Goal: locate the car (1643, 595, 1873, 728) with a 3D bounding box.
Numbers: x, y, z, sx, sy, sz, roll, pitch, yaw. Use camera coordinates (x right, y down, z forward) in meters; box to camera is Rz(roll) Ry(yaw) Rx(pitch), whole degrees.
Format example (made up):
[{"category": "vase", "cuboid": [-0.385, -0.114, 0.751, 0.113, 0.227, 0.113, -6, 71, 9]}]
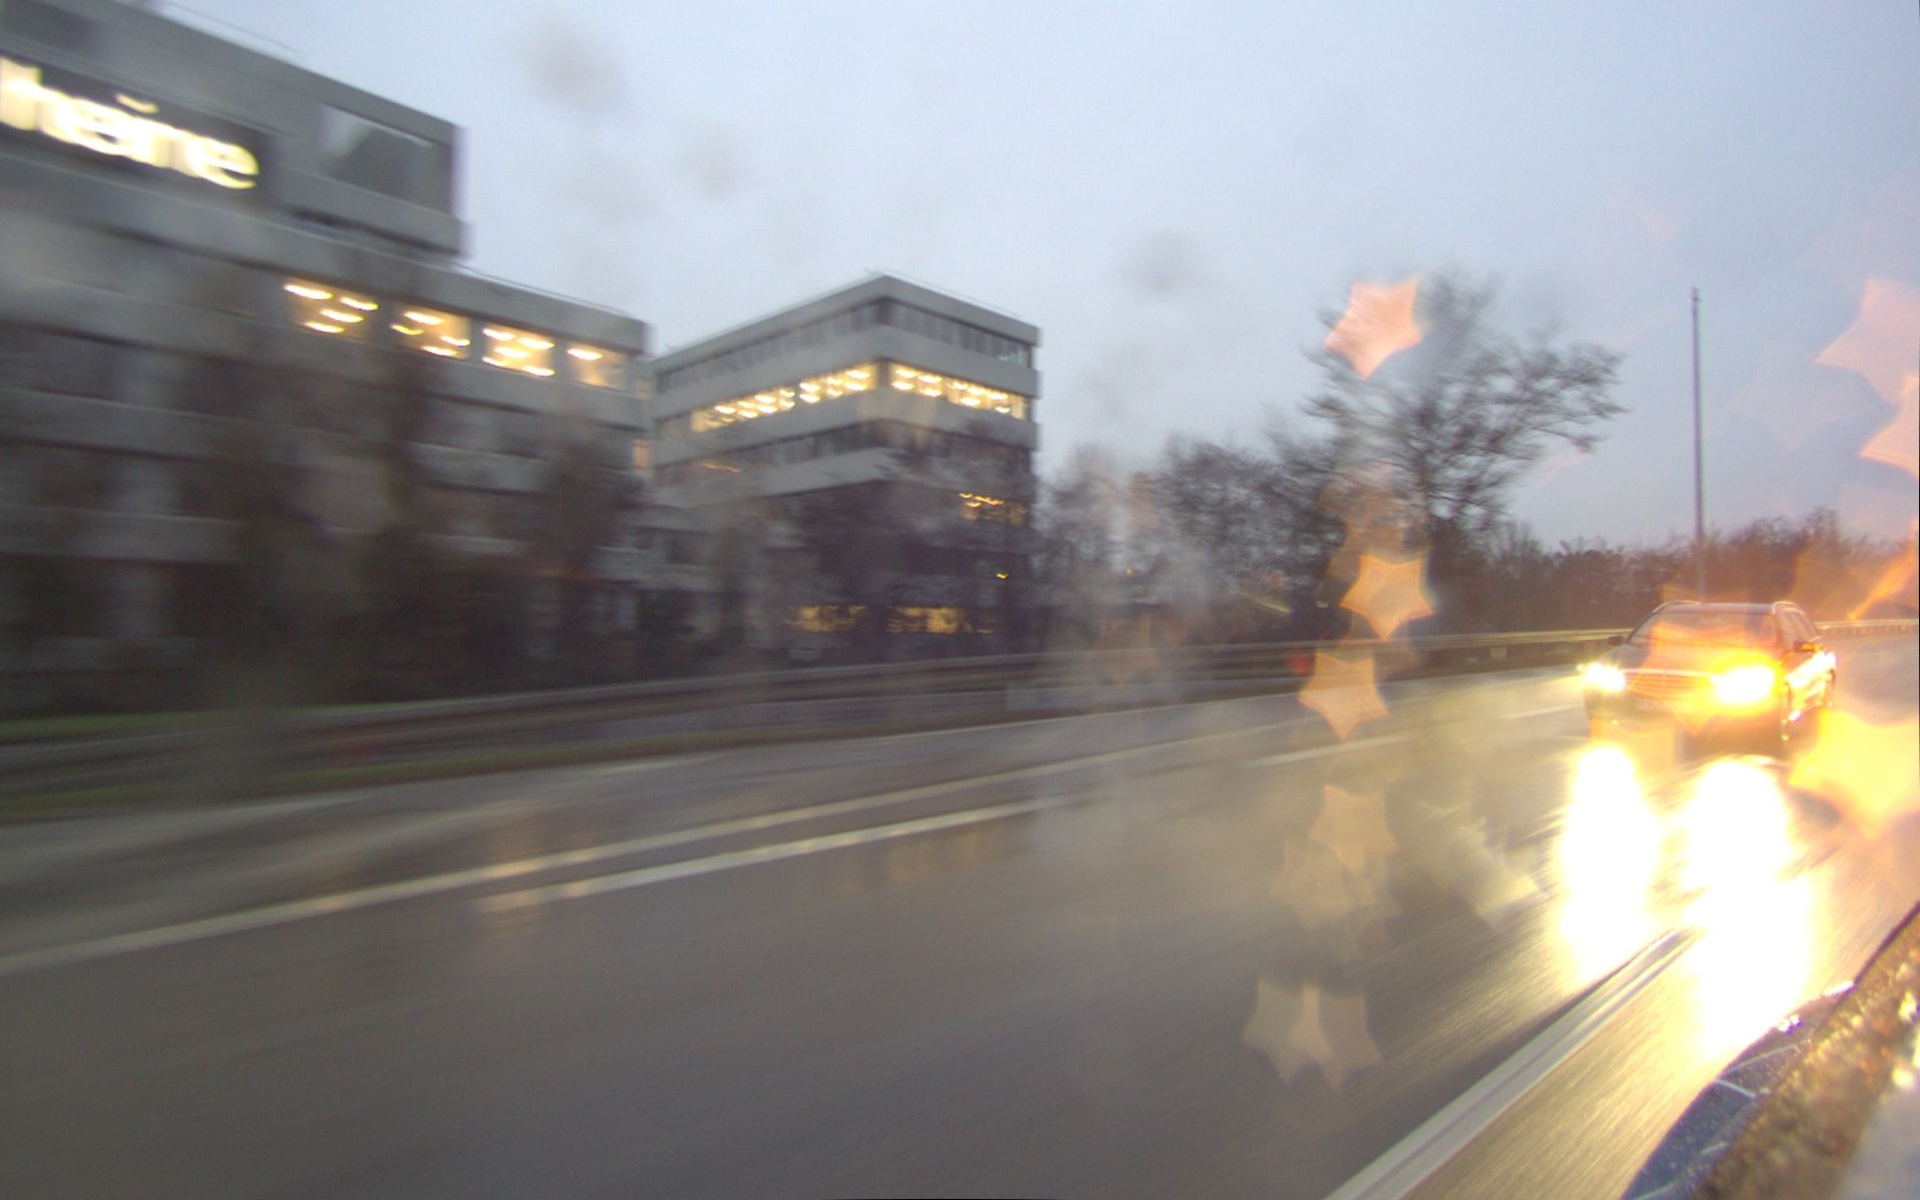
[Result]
[{"category": "car", "cuboid": [10.491, 0.703, 13.197, 4.102, 1.472, 1.594, 1, 0, -40]}]
